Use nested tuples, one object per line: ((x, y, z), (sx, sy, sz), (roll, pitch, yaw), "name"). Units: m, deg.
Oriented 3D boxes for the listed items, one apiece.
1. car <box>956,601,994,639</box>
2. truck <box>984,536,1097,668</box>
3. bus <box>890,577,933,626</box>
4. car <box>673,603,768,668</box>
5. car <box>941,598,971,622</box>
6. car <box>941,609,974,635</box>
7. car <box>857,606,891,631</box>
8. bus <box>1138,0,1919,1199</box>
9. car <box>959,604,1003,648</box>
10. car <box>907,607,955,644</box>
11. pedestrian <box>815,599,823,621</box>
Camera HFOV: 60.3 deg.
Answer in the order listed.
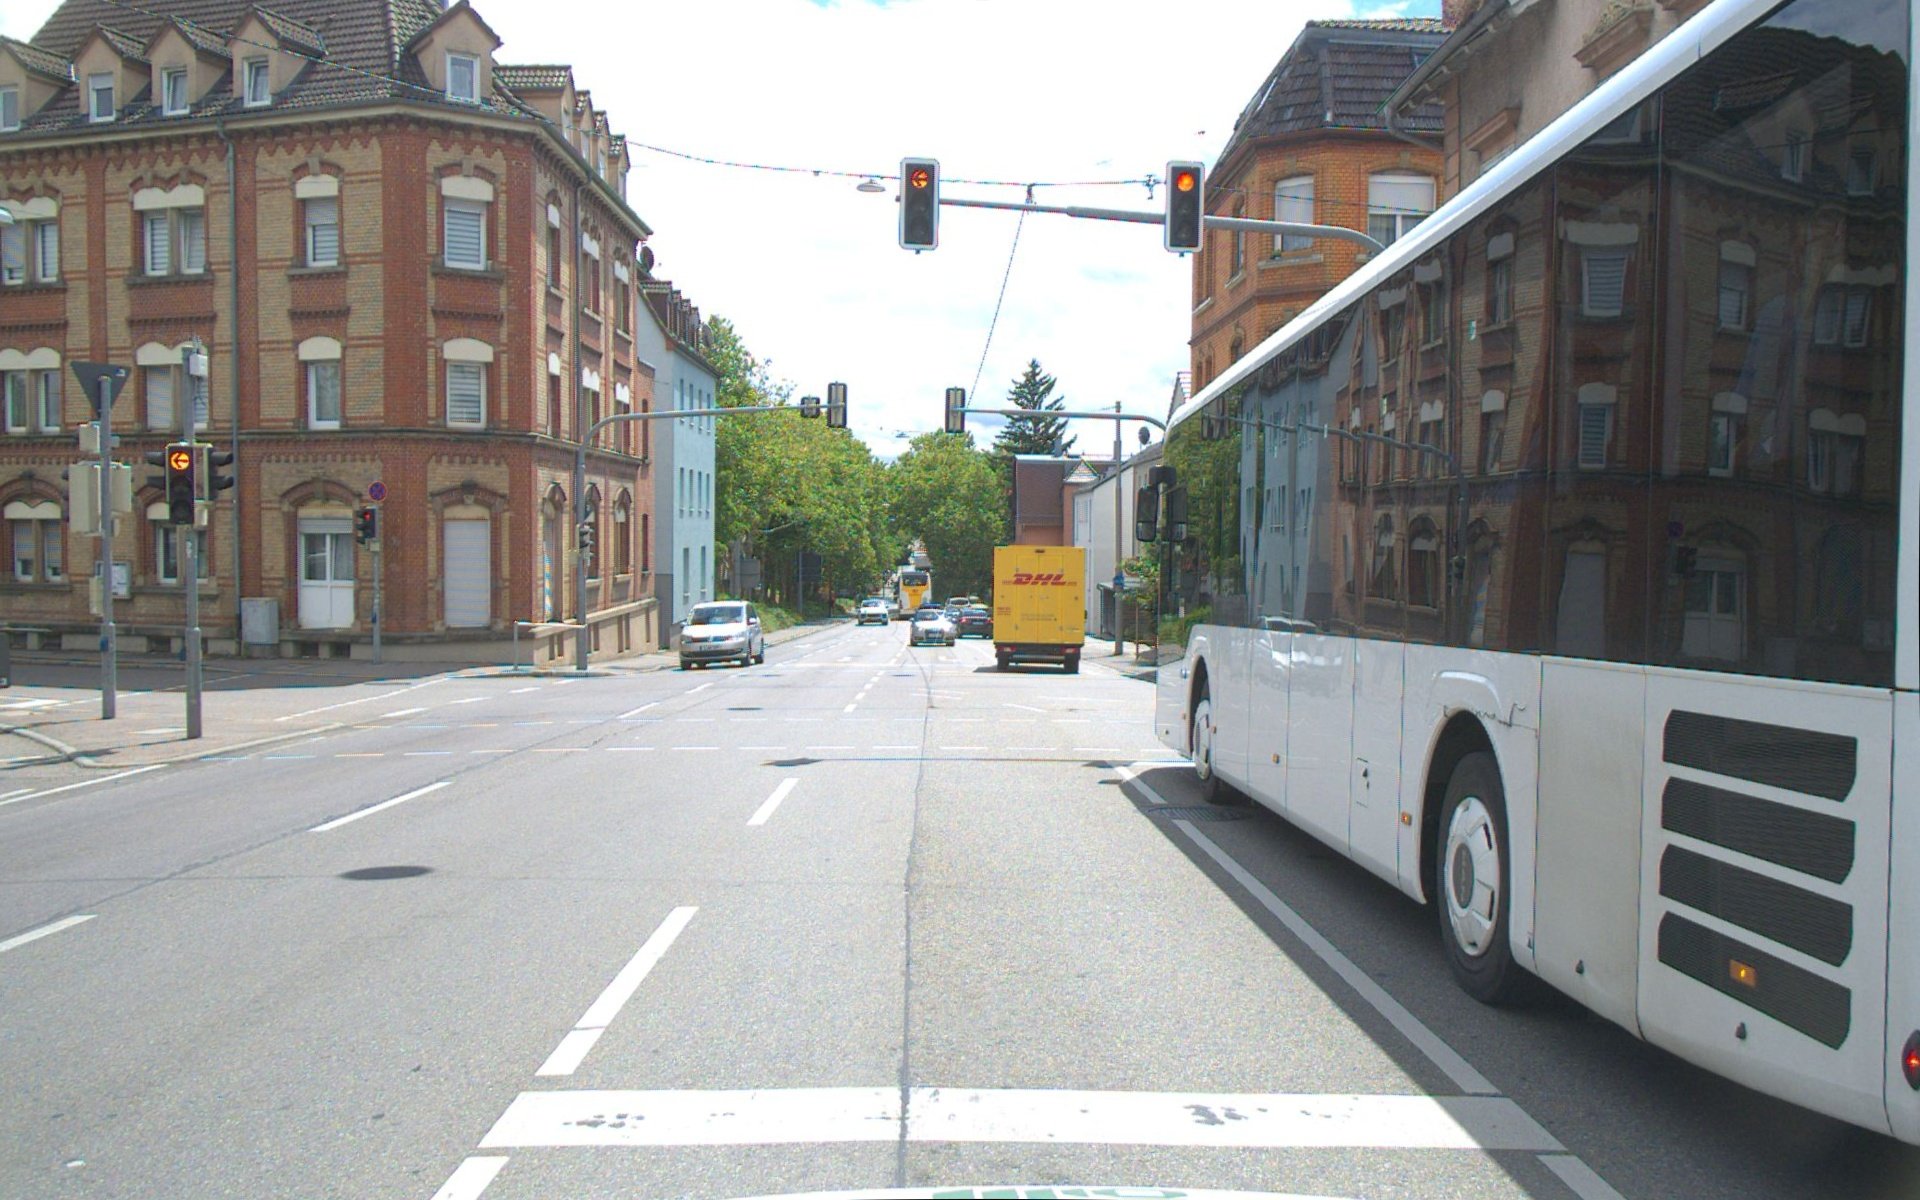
((0.718, 0.954, 80.886), (1.782, 1.816, 3.999), (0, 0, -1), "car")
((1.897, 0.067, 41.036), (2.489, 2.964, 6.572), (1, 0, 0), "truck")
((-3.975, 0.113, 132.464), (3.234, 3.694, 11.238), (-1, 0, -3), "bus")
((-6.188, 0.886, 43.213), (1.896, 1.591, 4.388), (0, 0, -1), "car")
((-0.333, 0.761, 129.592), (2.050, 1.862, 4.139), (0, 0, -4), "car")
((-0.176, 1.232, 94.395), (1.827, 1.391, 4.546), (0, 0, -1), "car")
((-5.833, 1.243, 112.480), (2.162, 1.641, 4.546), (0, 0, -1), "car")
((3.232, -0.304, 9.477), (2.845, 3.571, 12.484), (1, 0, -1), "bus")
((1.001, 1.253, 80.981), (1.954, 2.049, 3.998), (-1, 0, -3), "car")
((-1.132, 0.973, 65.290), (1.827, 1.391, 4.546), (0, 0, -1), "car")
((-11.615, 0.836, 136.128), (0.594, 1.789, 0.653), (0, 0, -2), "pedestrian")
